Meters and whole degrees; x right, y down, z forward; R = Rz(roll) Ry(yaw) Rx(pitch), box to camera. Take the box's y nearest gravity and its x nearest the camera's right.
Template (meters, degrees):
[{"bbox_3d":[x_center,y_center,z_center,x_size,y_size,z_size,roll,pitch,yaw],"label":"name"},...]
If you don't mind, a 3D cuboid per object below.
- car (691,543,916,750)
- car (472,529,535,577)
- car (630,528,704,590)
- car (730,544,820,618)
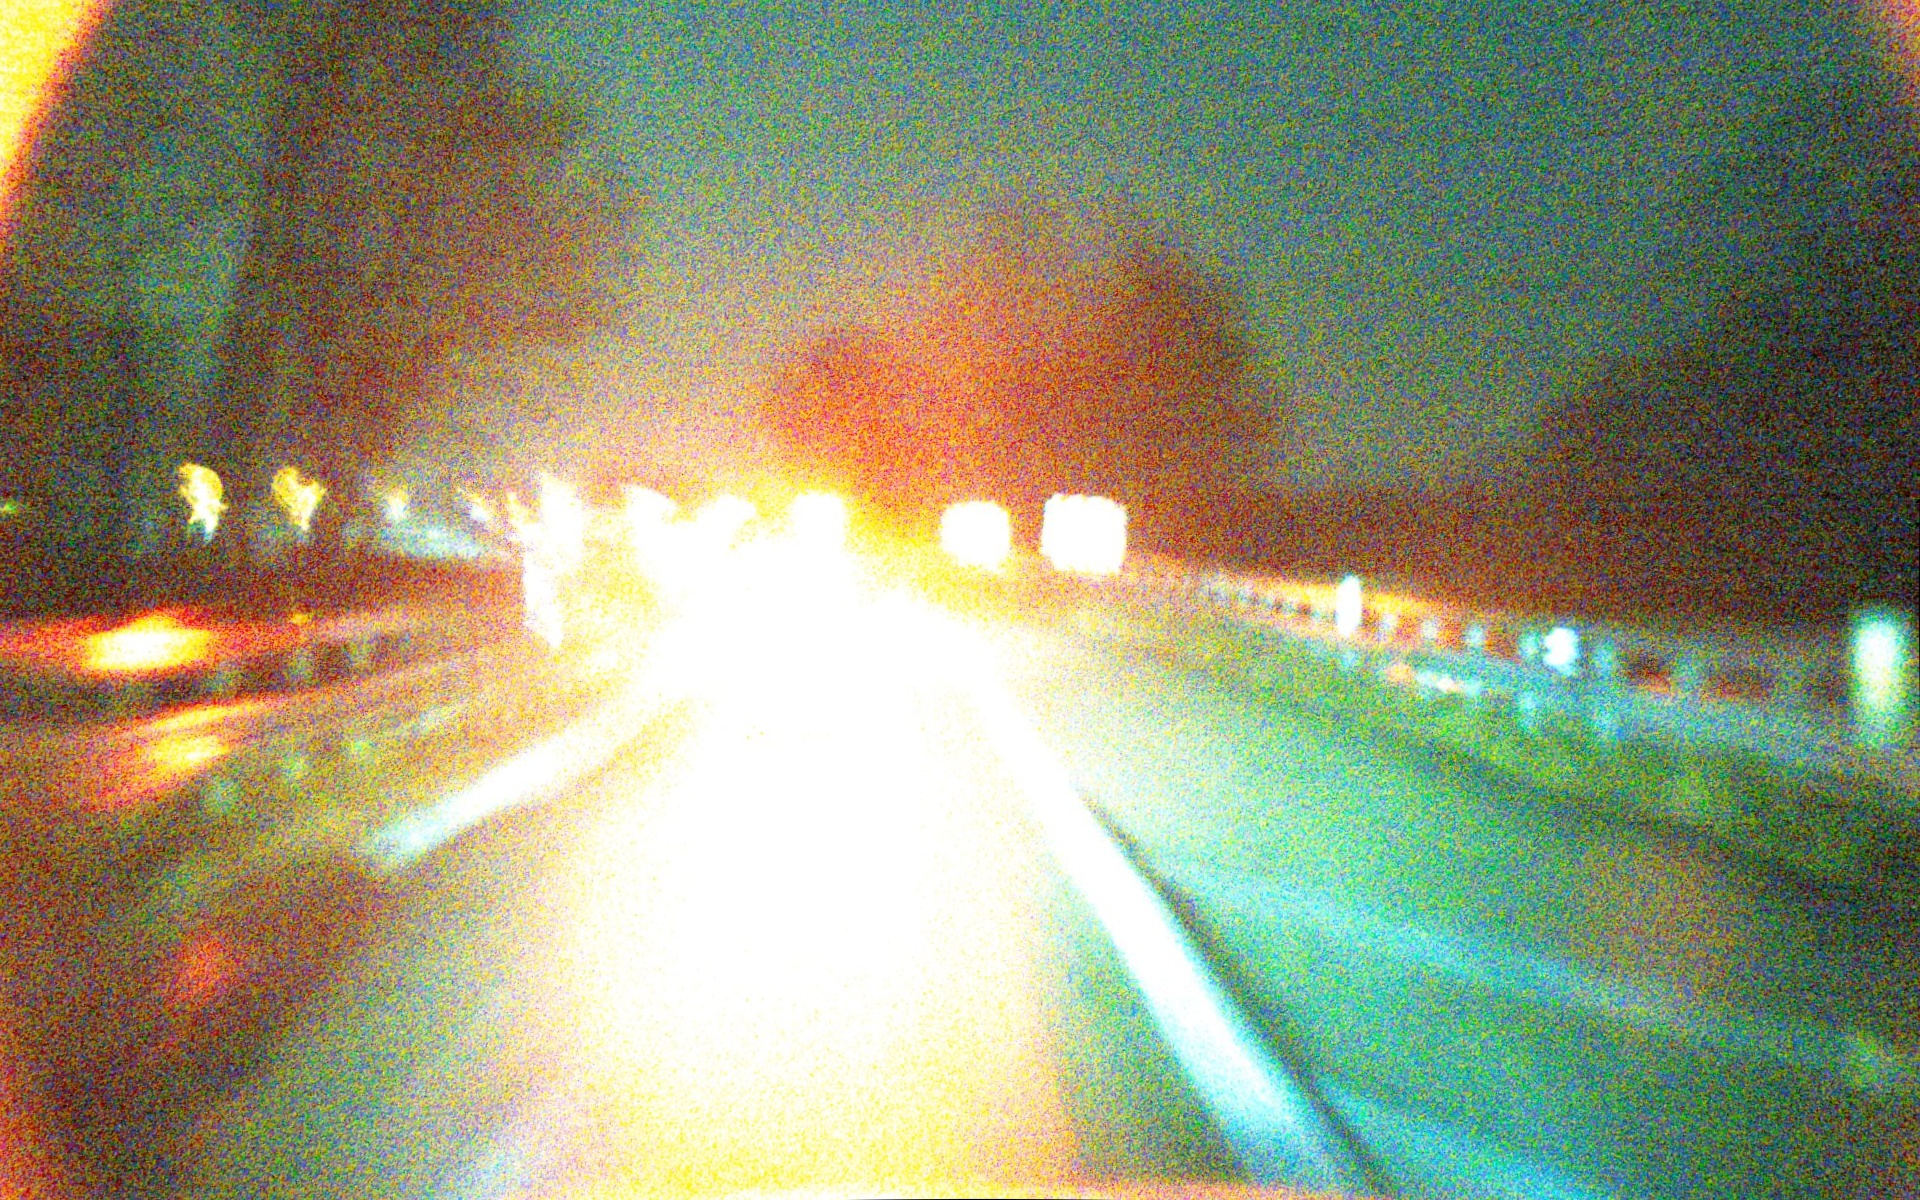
[{"bbox_3d":[-1.490,0.328,15.518,1.825,1.676,4.064,0,1,-6],"label":"car"},{"bbox_3d":[-20.246,-2.104,73.280,1.874,2.032,4.009,0,2,-28],"label":"car"},{"bbox_3d":[-10.404,-1.485,58.532,1.868,2.075,4.021,0,3,-21],"label":"car"},{"bbox_3d":[-4.656,-0.496,41.208,1.862,1.750,4.035,-1,1,-11],"label":"car"}]
